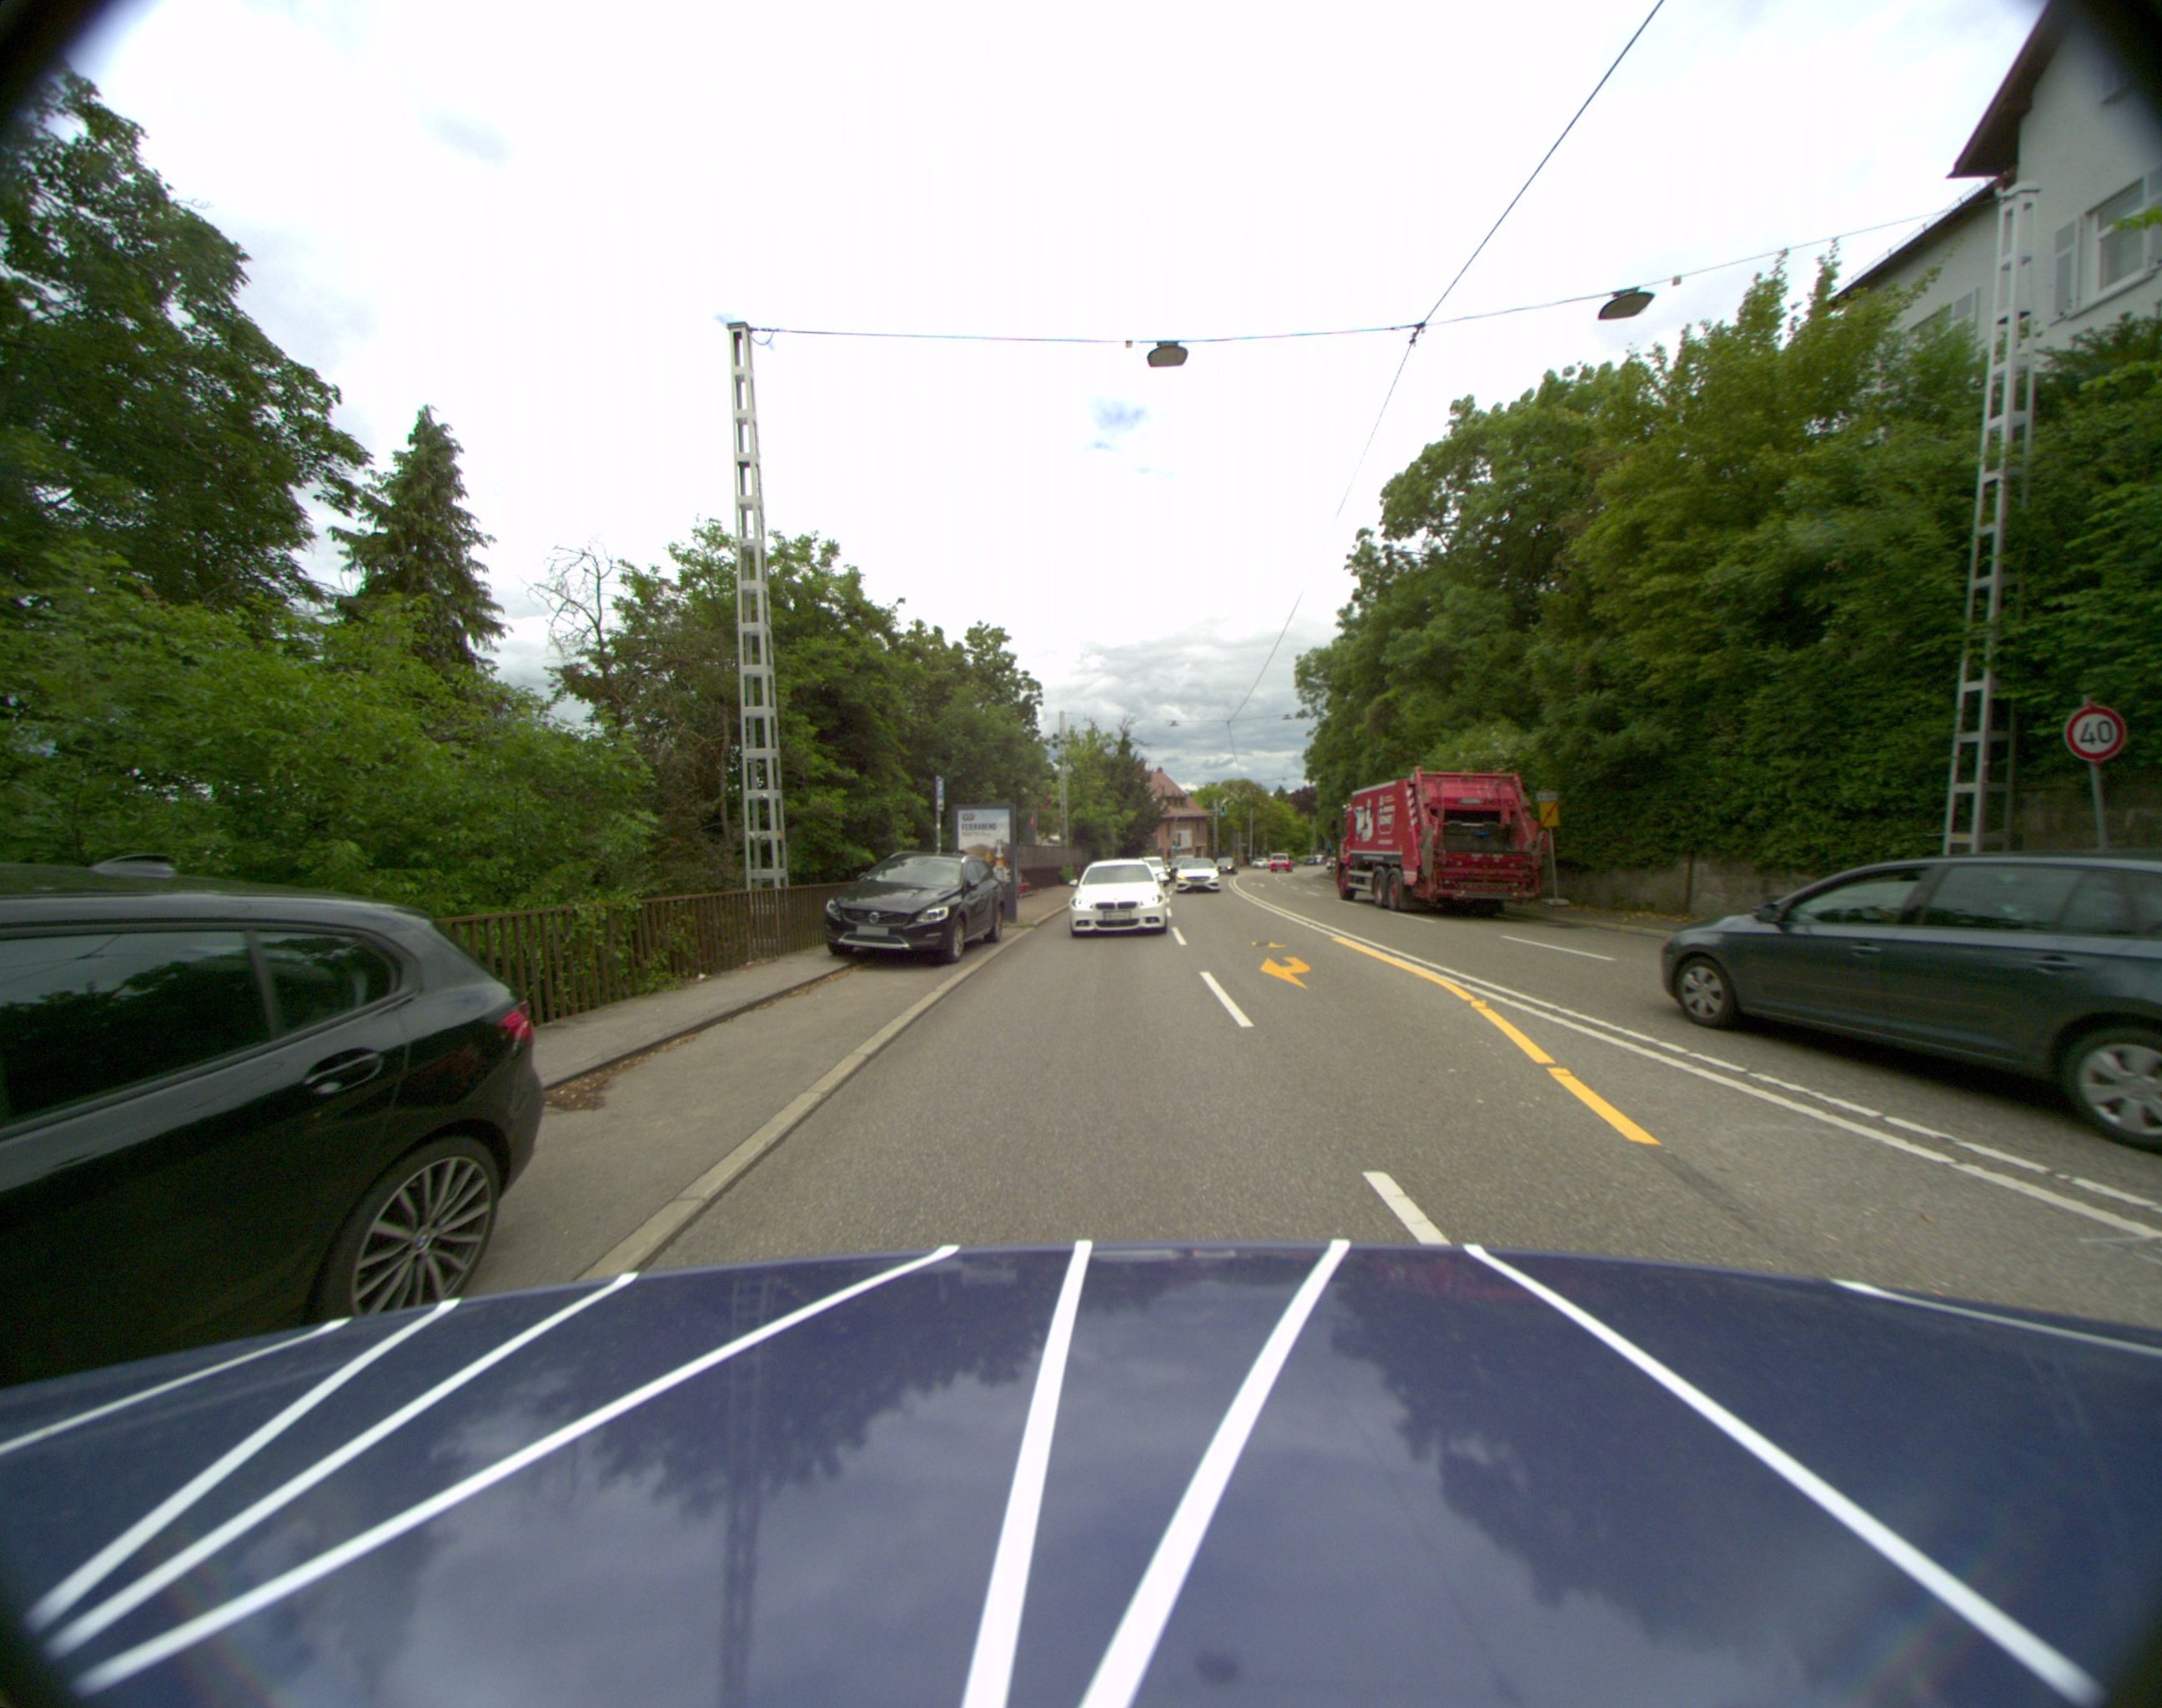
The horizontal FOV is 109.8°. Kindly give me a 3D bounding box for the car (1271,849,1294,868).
[{"bbox_3d":[21.268,0.440,80.113,1.992,1.894,4.251,1,0,19],"label":"car"}]

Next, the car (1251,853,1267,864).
[{"bbox_3d":[26.425,0.653,112.556,1.790,1.472,4.250,-2,0,19],"label":"car"}]

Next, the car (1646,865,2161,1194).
[{"bbox_3d":[5.798,0.822,4.658,1.718,1.452,4.000,0,0,1],"label":"car"}]

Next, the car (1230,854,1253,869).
[{"bbox_3d":[16.928,0.803,79.978,1.790,1.472,4.250,-2,0,19],"label":"car"}]

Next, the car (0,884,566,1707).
[{"bbox_3d":[-2.959,0.887,0.816,1.858,1.427,4.232,4,0,0],"label":"car"}]

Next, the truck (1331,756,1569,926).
[{"bbox_3d":[9.719,-0.306,21.611,2.866,3.676,9.662,2,0,6],"label":"truck"}]

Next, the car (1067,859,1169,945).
[{"bbox_3d":[0.804,0.890,15.921,1.791,1.472,4.246,-2,0,4],"label":"car"}]

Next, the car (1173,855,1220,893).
[{"bbox_3d":[4.865,0.806,32.377,1.791,1.472,4.247,-2,0,7],"label":"car"}]

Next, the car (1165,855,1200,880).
[{"bbox_3d":[6.361,0.818,47.303,1.797,1.501,4.004,0,0,12],"label":"car"}]

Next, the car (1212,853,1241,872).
[{"bbox_3d":[12.517,0.705,65.204,1.790,1.472,4.250,-2,0,19],"label":"car"}]

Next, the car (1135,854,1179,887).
[{"bbox_3d":[4.089,0.838,40.356,1.790,1.542,4.249,-2,0,13],"label":"car"}]

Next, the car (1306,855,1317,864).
[{"bbox_3d":[42.644,0.952,140.522,1.790,1.472,4.250,-2,0,19],"label":"car"}]

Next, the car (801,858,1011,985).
[{"bbox_3d":[-2.451,0.863,11.842,1.857,1.525,4.234,2,0,6],"label":"car"}]
